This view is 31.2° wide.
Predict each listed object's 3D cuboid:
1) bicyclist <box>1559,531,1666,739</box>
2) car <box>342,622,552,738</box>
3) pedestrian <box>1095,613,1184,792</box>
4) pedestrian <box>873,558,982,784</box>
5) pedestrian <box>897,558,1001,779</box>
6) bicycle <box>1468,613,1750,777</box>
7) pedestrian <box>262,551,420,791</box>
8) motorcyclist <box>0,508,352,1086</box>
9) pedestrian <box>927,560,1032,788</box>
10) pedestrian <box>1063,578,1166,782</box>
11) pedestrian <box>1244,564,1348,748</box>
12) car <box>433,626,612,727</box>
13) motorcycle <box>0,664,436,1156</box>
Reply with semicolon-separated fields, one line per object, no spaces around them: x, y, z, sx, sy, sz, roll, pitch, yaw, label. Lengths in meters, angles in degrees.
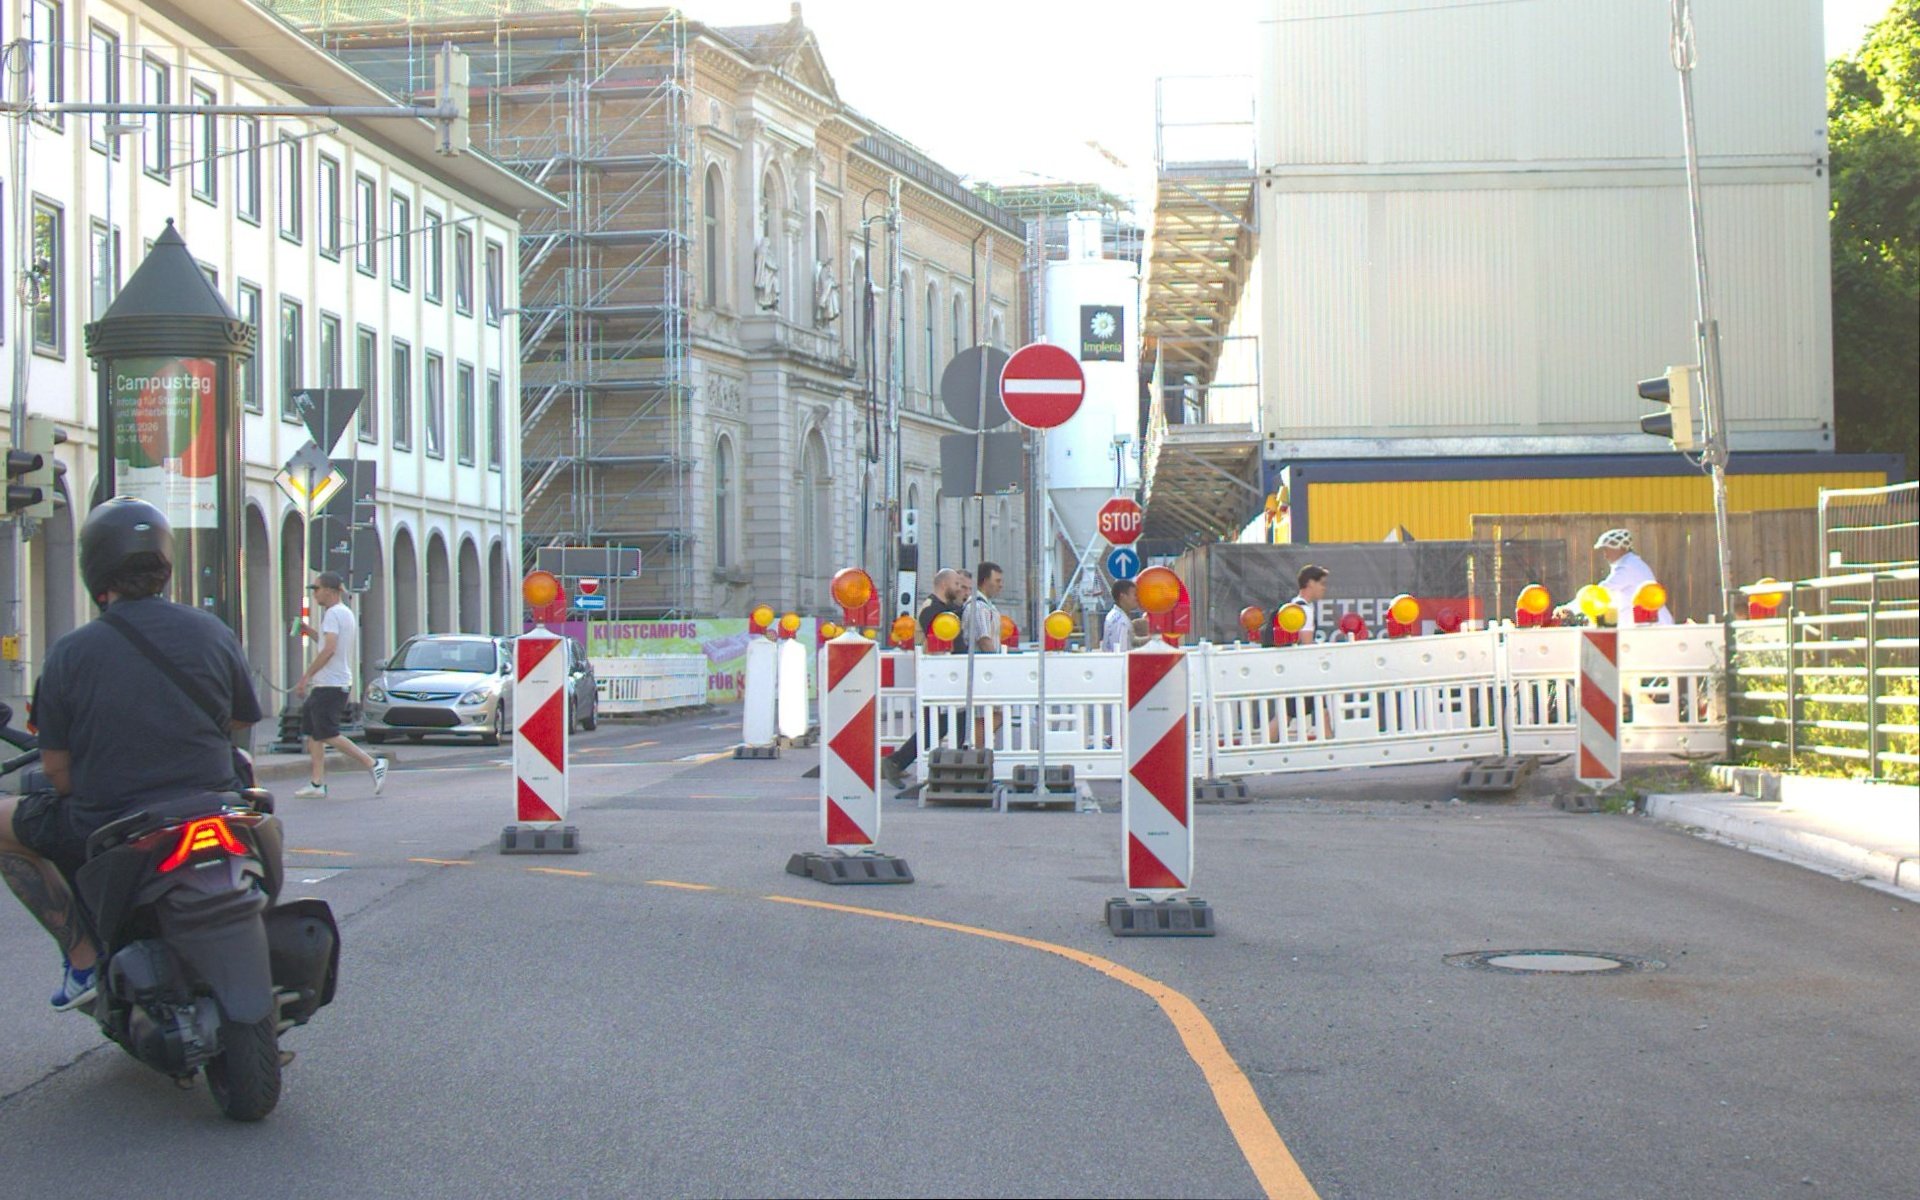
4.817;0.261;25.397;0.702;1.511;0.686;0;-1;5;bicyclist
-6.814;1.097;46.090;1.925;1.461;3.999;1;-2;4;car
1.332;0.757;25.528;0.618;1.295;0.494;2;0;3;pedestrian
-0.248;0.544;26.689;0.737;1.710;0.622;-2;0;4;pedestrian
-0.085;0.556;28.269;0.737;1.765;0.723;-2;0;4;pedestrian
4.792;0.700;25.433;1.992;1.197;0.477;0;-1;3;bicycle
-4.586;0.526;25.519;0.974;1.723;0.798;-2;-1;0;pedestrian
-2.464;0.522;10.034;0.954;1.554;1.239;-1;1;-31;motorcyclist
0.161;0.580;27.321;0.737;1.765;0.622;-2;0;4;pedestrian
1.260;0.639;27.968;0.768;1.613;0.666;-2;0;4;pedestrian
2.729;0.449;28.019;0.768;1.457;0.666;-2;0;4;pedestrian
-6.639;1.201;52.569;1.925;1.461;3.999;1;-2;4;car
-2.467;0.813;10.065;0.906;1.179;2.579;-1;1;-31;motorcycle
